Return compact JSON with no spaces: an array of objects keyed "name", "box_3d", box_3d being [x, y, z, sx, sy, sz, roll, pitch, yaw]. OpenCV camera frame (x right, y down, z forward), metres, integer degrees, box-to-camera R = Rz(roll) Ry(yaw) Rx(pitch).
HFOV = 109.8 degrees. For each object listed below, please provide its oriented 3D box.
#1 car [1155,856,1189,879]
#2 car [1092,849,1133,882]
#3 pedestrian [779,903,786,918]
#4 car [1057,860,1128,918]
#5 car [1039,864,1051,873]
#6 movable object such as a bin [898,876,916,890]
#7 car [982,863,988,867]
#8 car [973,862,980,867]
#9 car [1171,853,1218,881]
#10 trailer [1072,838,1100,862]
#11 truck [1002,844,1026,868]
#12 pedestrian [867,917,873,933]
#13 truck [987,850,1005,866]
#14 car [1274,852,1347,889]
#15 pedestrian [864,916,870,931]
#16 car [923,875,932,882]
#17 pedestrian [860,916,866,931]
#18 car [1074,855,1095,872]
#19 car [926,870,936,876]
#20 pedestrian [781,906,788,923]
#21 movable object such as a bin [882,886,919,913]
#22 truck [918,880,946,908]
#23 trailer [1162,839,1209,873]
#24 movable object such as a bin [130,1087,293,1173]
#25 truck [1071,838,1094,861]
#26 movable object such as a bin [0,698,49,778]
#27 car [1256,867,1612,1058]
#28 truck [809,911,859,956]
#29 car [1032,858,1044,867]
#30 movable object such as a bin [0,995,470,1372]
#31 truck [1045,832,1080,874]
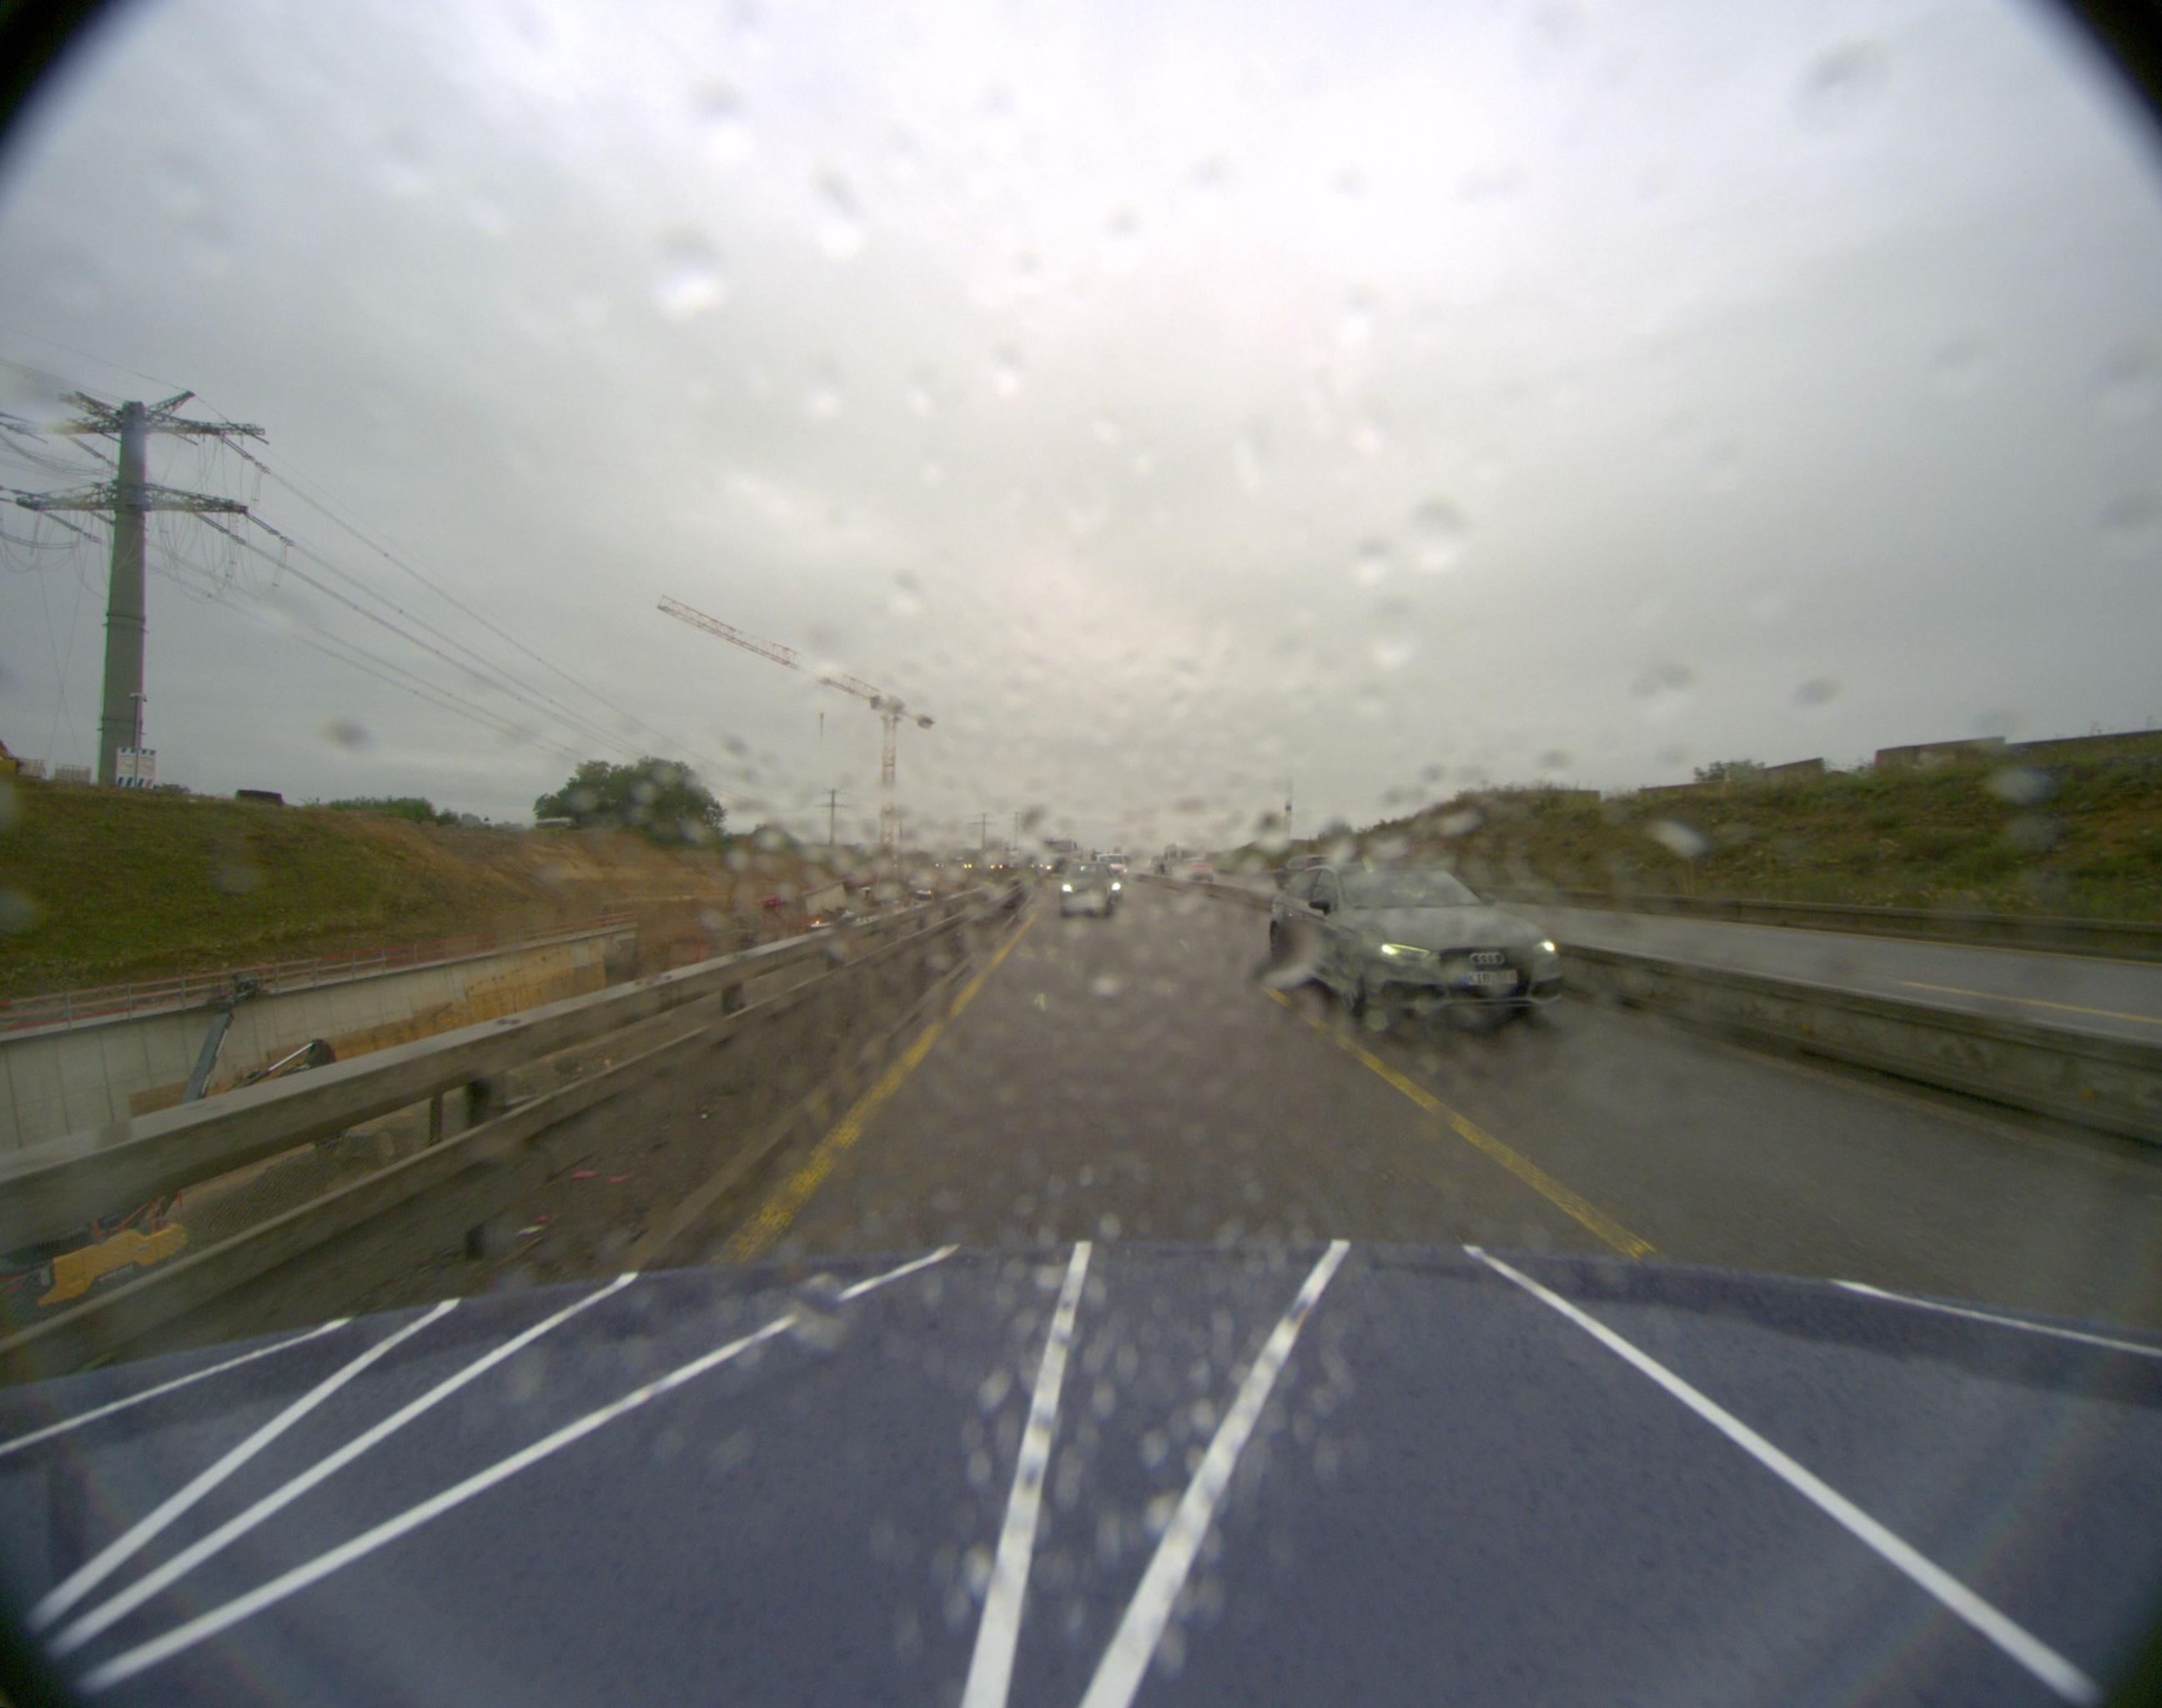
[{"name":"car","box_3d":[8.216,1.208,68.960,1.999,1.577,5.118,-14,1,-2]},{"name":"car","box_3d":[1.967,0.665,48.895,2.070,1.933,5.154,-2,1,-3]},{"name":"pedestrian","box_3d":[-38.894,7.374,99.012,0.488,1.793,0.583,-5,2,34]},{"name":"car","box_3d":[0.255,0.969,22.683,1.874,1.481,4.260,-2,0,-2]},{"name":"car","box_3d":[-6.234,2.496,132.380,1.790,1.418,3.997,-3,0,-7]},{"name":"movable object such as a bin","box_3d":[-40.583,6.666,177.012,3.503,2.865,3.997,4,0,-7]},{"name":"car","box_3d":[-32.825,3.673,259.224,1.790,1.418,3.997,-3,0,-7]},{"name":"car","box_3d":[-30.485,3.004,221.133,1.791,1.418,3.997,-3,0,-9]},{"name":"car","box_3d":[6.534,0.771,44.240,1.882,1.491,4.335,-3,-1,-2]},{"name":"trailer","box_3d":[0.788,-0.676,129.825,3.265,3.941,11.528,-2,0,-7]},{"name":"truck","box_3d":[-13.620,0.421,153.885,4.320,4.319,13.399,-3,0,-7]},{"name":"pedestrian","box_3d":[-26.530,8.933,95.706,0.603,1.894,0.614,0,1,-6]},{"name":"truck","box_3d":[-21.461,0.997,191.407,3.548,3.871,8.327,-3,0,-11]},{"name":"car","box_3d":[9.884,0.684,33.088,1.773,1.435,4.671,-2,0,1]},{"name":"pedestrian","box_3d":[-26.653,8.651,94.507,0.603,1.759,0.481,2,1,-7]},{"name":"car","box_3d":[-39.525,6.277,195.465,1.861,1.609,4.077,-1,0,-8]},{"name":"pedestrian","box_3d":[-27.686,8.845,96.401,0.603,1.894,0.481,1,1,-7]},{"name":"car","box_3d":[0.355,1.075,86.544,1.790,1.744,3.997,-3,0,-7]},{"name":"car","box_3d":[-44.175,5.571,223.843,2.352,1.609,4.856,-1,0,-8]},{"name":"pedestrian","box_3d":[-39.240,8.005,100.504,0.489,2.087,0.481,-7,2,-6]},{"name":"movable object such as a bin","box_3d":[-26.964,6.733,113.711,3.516,3.405,6.652,-2,1,2]},{"name":"truck","box_3d":[-23.475,6.234,120.205,3.362,3.521,8.900,-1,2,-4]},{"name":"trailer","box_3d":[8.543,0.189,62.853,2.517,2.549,7.161,-3,0,-3]},{"name":"movable object such as a bin","box_3d":[-33.683,10.642,29.600,2.523,1.900,3.255,-4,1,-5]},{"name":"truck","box_3d":[0.238,-0.725,134.888,3.241,3.933,5.877,-2,1,-6]},{"name":"movable object such as a bin","box_3d":[-60.550,-6.433,39.293,3.106,4.181,8.179,0,0,1]},{"name":"car","box_3d":[3.299,0.901,8.111,1.805,1.375,4.087,-2,1,-1]},{"name":"truck","box_3d":[-25.705,8.193,79.564,2.710,3.591,9.069,0,1,-3]},{"name":"car","box_3d":[-8.267,1.650,146.081,1.791,1.646,3.997,-3,0,-9]},{"name":"movable object such as a bin","box_3d":[-26.049,8.592,22.861,4.906,5.639,12.084,-4,3,1]},{"name":"truck","box_3d":[-1.797,-0.092,68.757,2.856,3.462,8.641,-2,1,-3]}]
